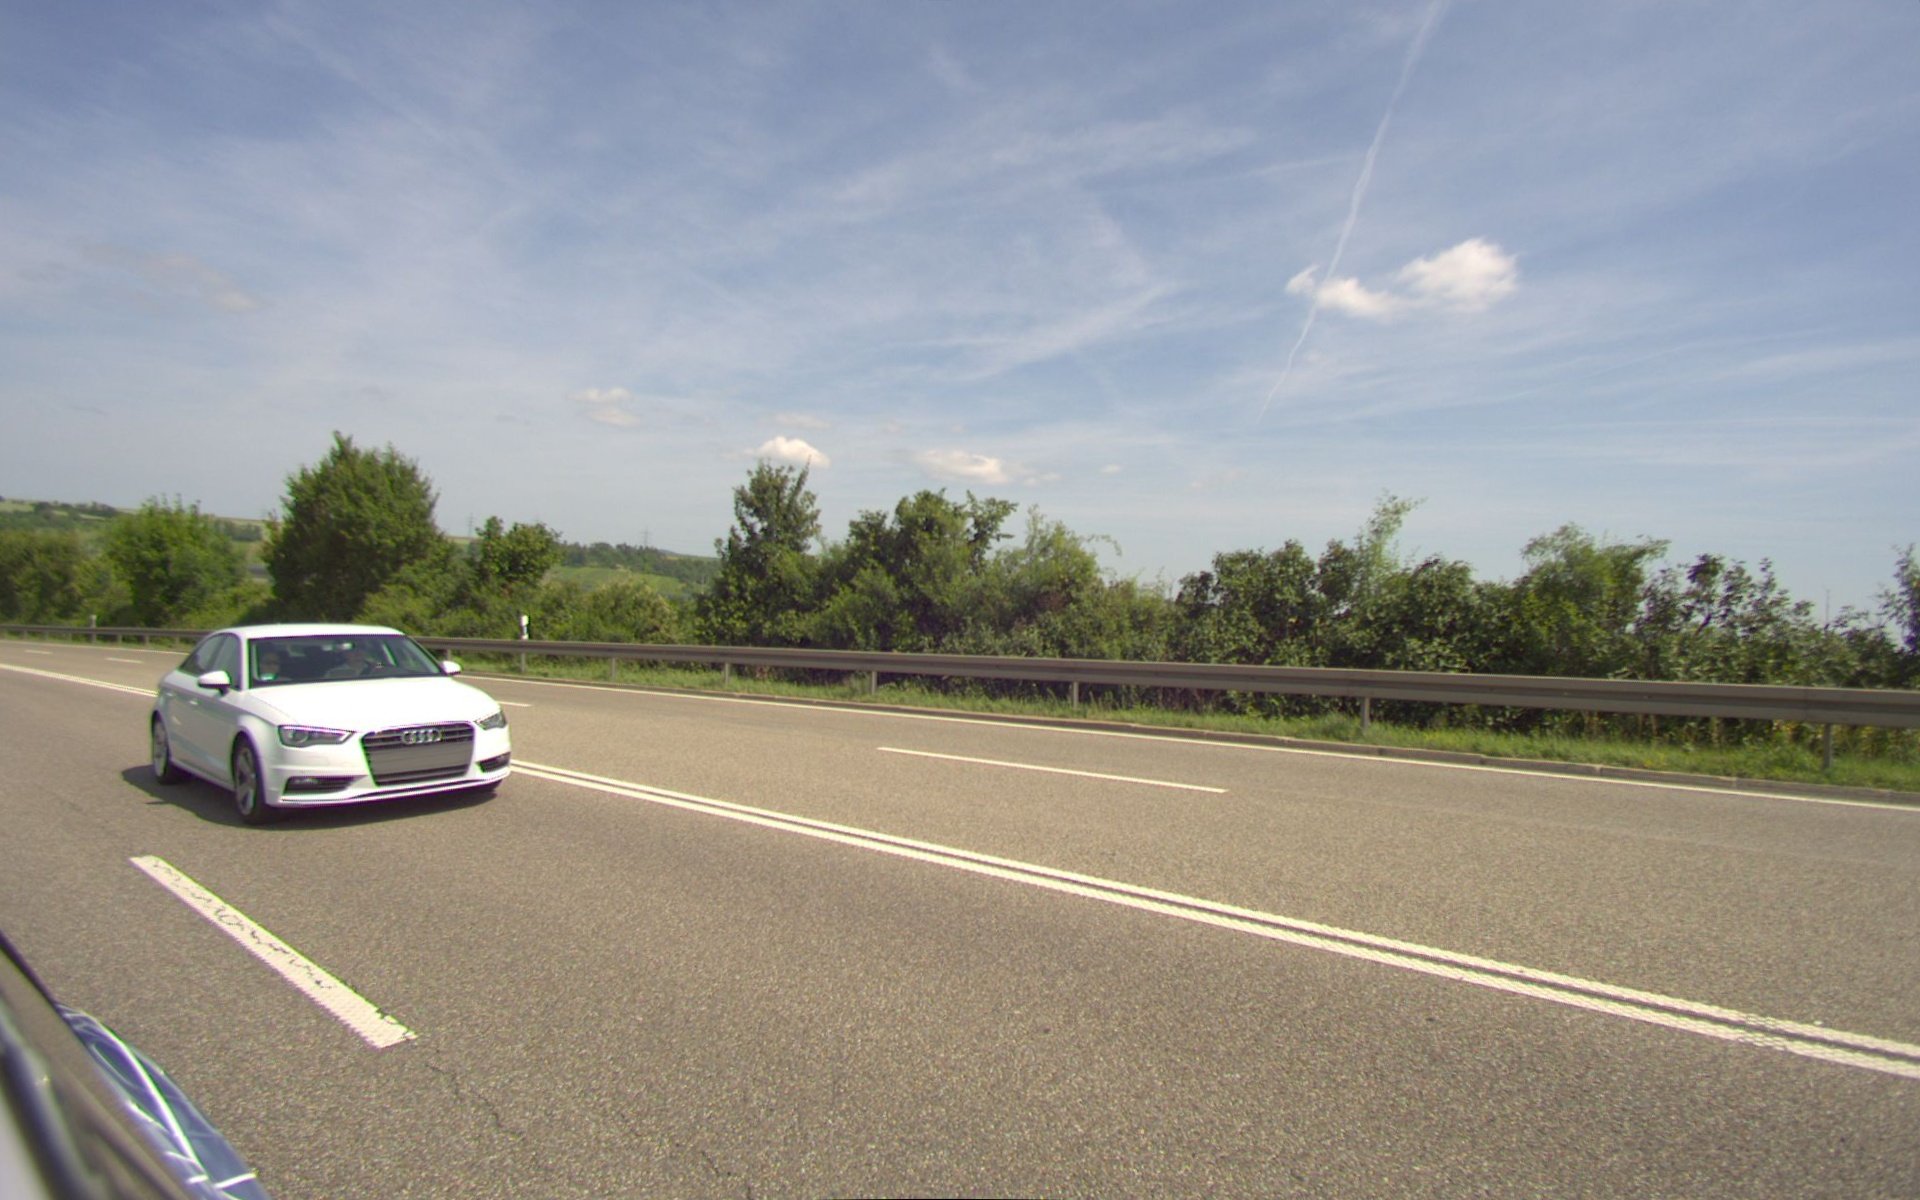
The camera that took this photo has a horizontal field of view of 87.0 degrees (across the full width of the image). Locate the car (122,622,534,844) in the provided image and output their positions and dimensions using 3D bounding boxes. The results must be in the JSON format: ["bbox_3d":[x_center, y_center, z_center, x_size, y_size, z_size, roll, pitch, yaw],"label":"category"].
[{"bbox_3d":[-5.544,0.897,8.598,4.600,1.386,1.686,-1,-1,41],"label":"car"}]
